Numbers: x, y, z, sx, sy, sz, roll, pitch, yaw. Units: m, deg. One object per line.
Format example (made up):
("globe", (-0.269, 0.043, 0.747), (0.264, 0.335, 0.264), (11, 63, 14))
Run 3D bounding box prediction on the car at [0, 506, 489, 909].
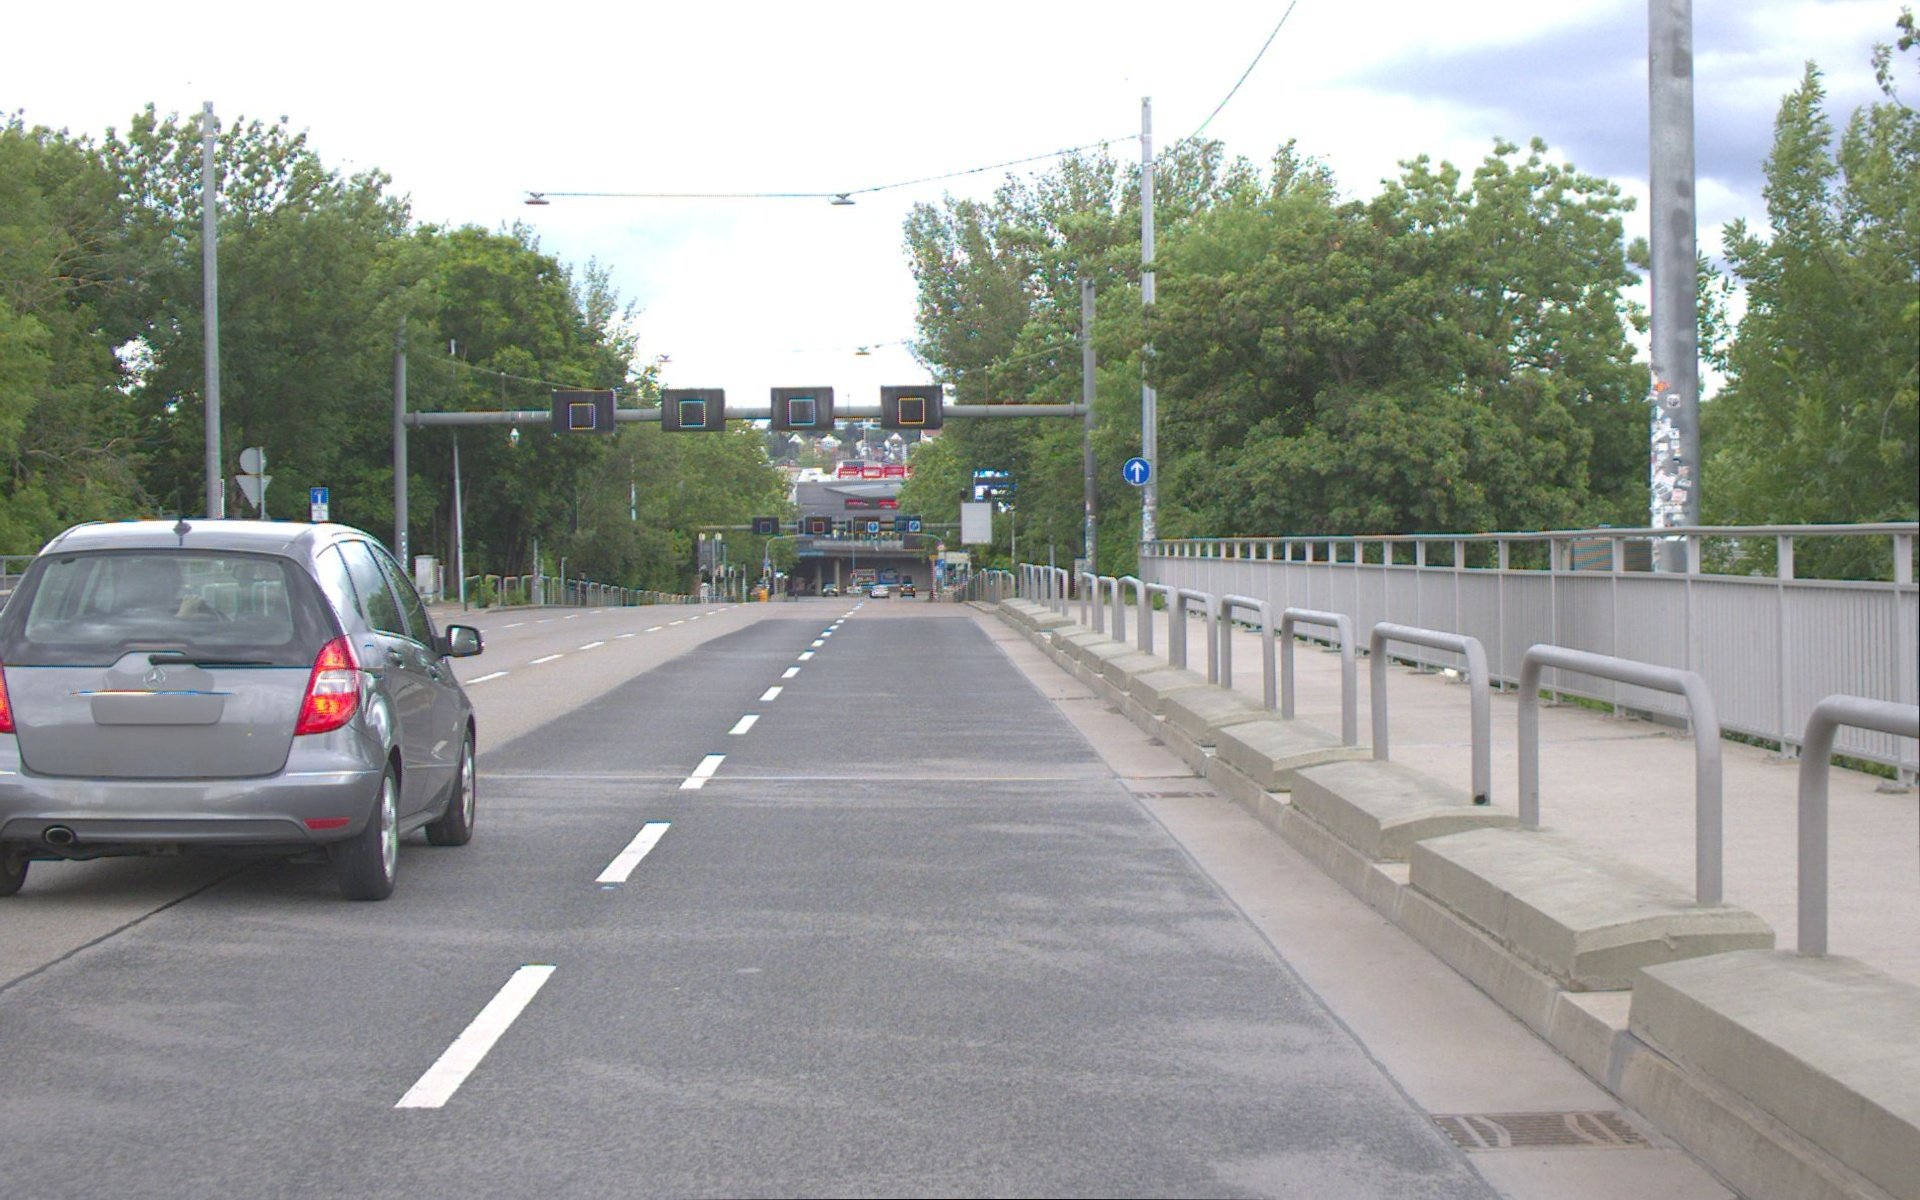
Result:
("car", (-3.197, 0.370, 15.333), (1.745, 1.545, 3.872), (0, 2, -1))
